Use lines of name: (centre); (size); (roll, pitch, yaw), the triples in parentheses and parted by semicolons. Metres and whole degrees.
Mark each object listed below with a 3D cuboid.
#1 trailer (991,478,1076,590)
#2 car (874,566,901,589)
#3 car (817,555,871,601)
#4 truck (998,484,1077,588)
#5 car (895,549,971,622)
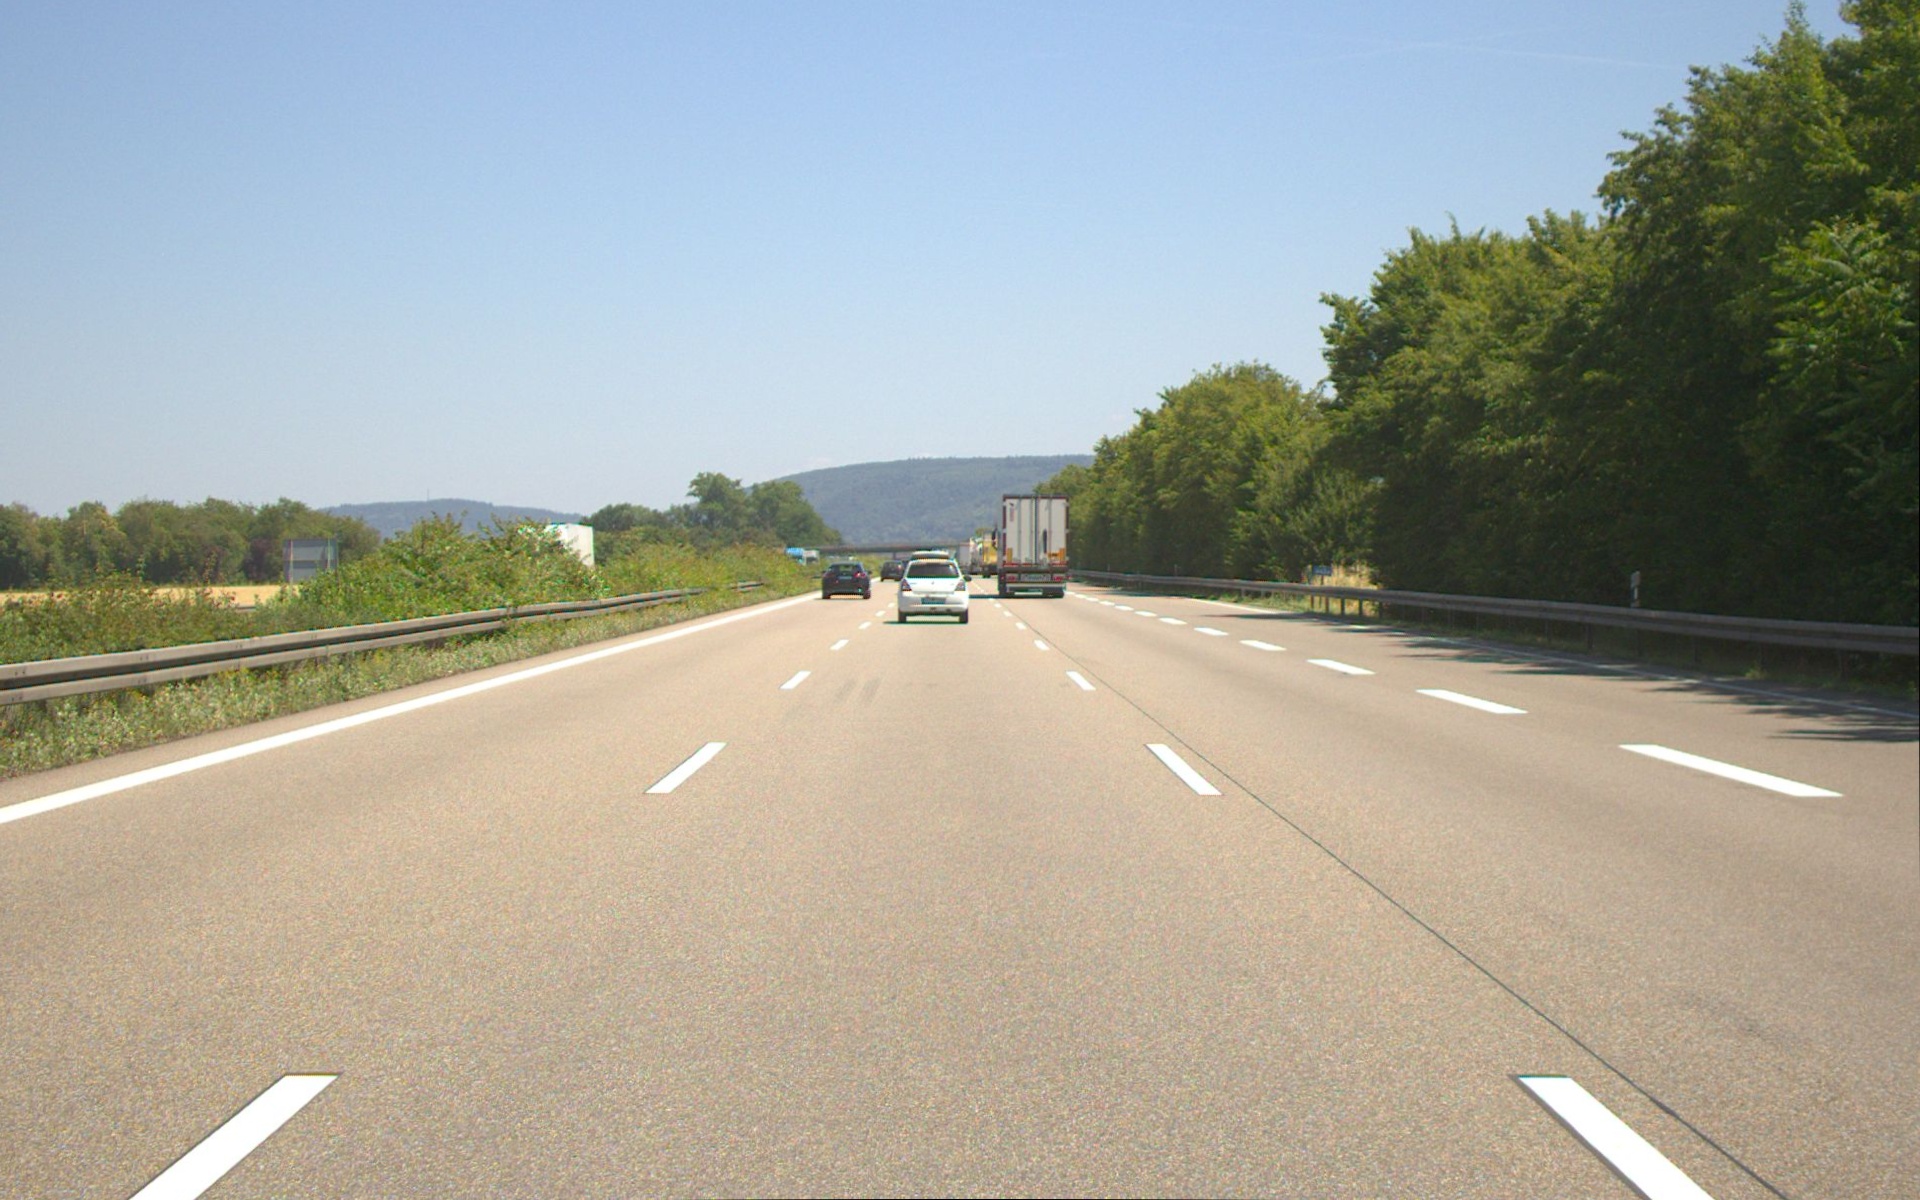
trailer: (3.110, -2.657, 140.740); (3.218, 4.330, 13.628); (1, 1, 2)
car: (-5.036, -1.568, 239.556); (1.795, 1.545, 4.000); (0, 0, 0)
car: (-4.415, -0.860, 131.416); (1.993, 1.706, 4.000); (1, 1, -1)
truck: (3.381, -2.741, 148.281); (3.218, 4.330, 6.590); (1, 1, 2)
car: (-0.671, -0.379, 82.484); (1.732, 1.678, 4.000); (-1, 1, -1)
